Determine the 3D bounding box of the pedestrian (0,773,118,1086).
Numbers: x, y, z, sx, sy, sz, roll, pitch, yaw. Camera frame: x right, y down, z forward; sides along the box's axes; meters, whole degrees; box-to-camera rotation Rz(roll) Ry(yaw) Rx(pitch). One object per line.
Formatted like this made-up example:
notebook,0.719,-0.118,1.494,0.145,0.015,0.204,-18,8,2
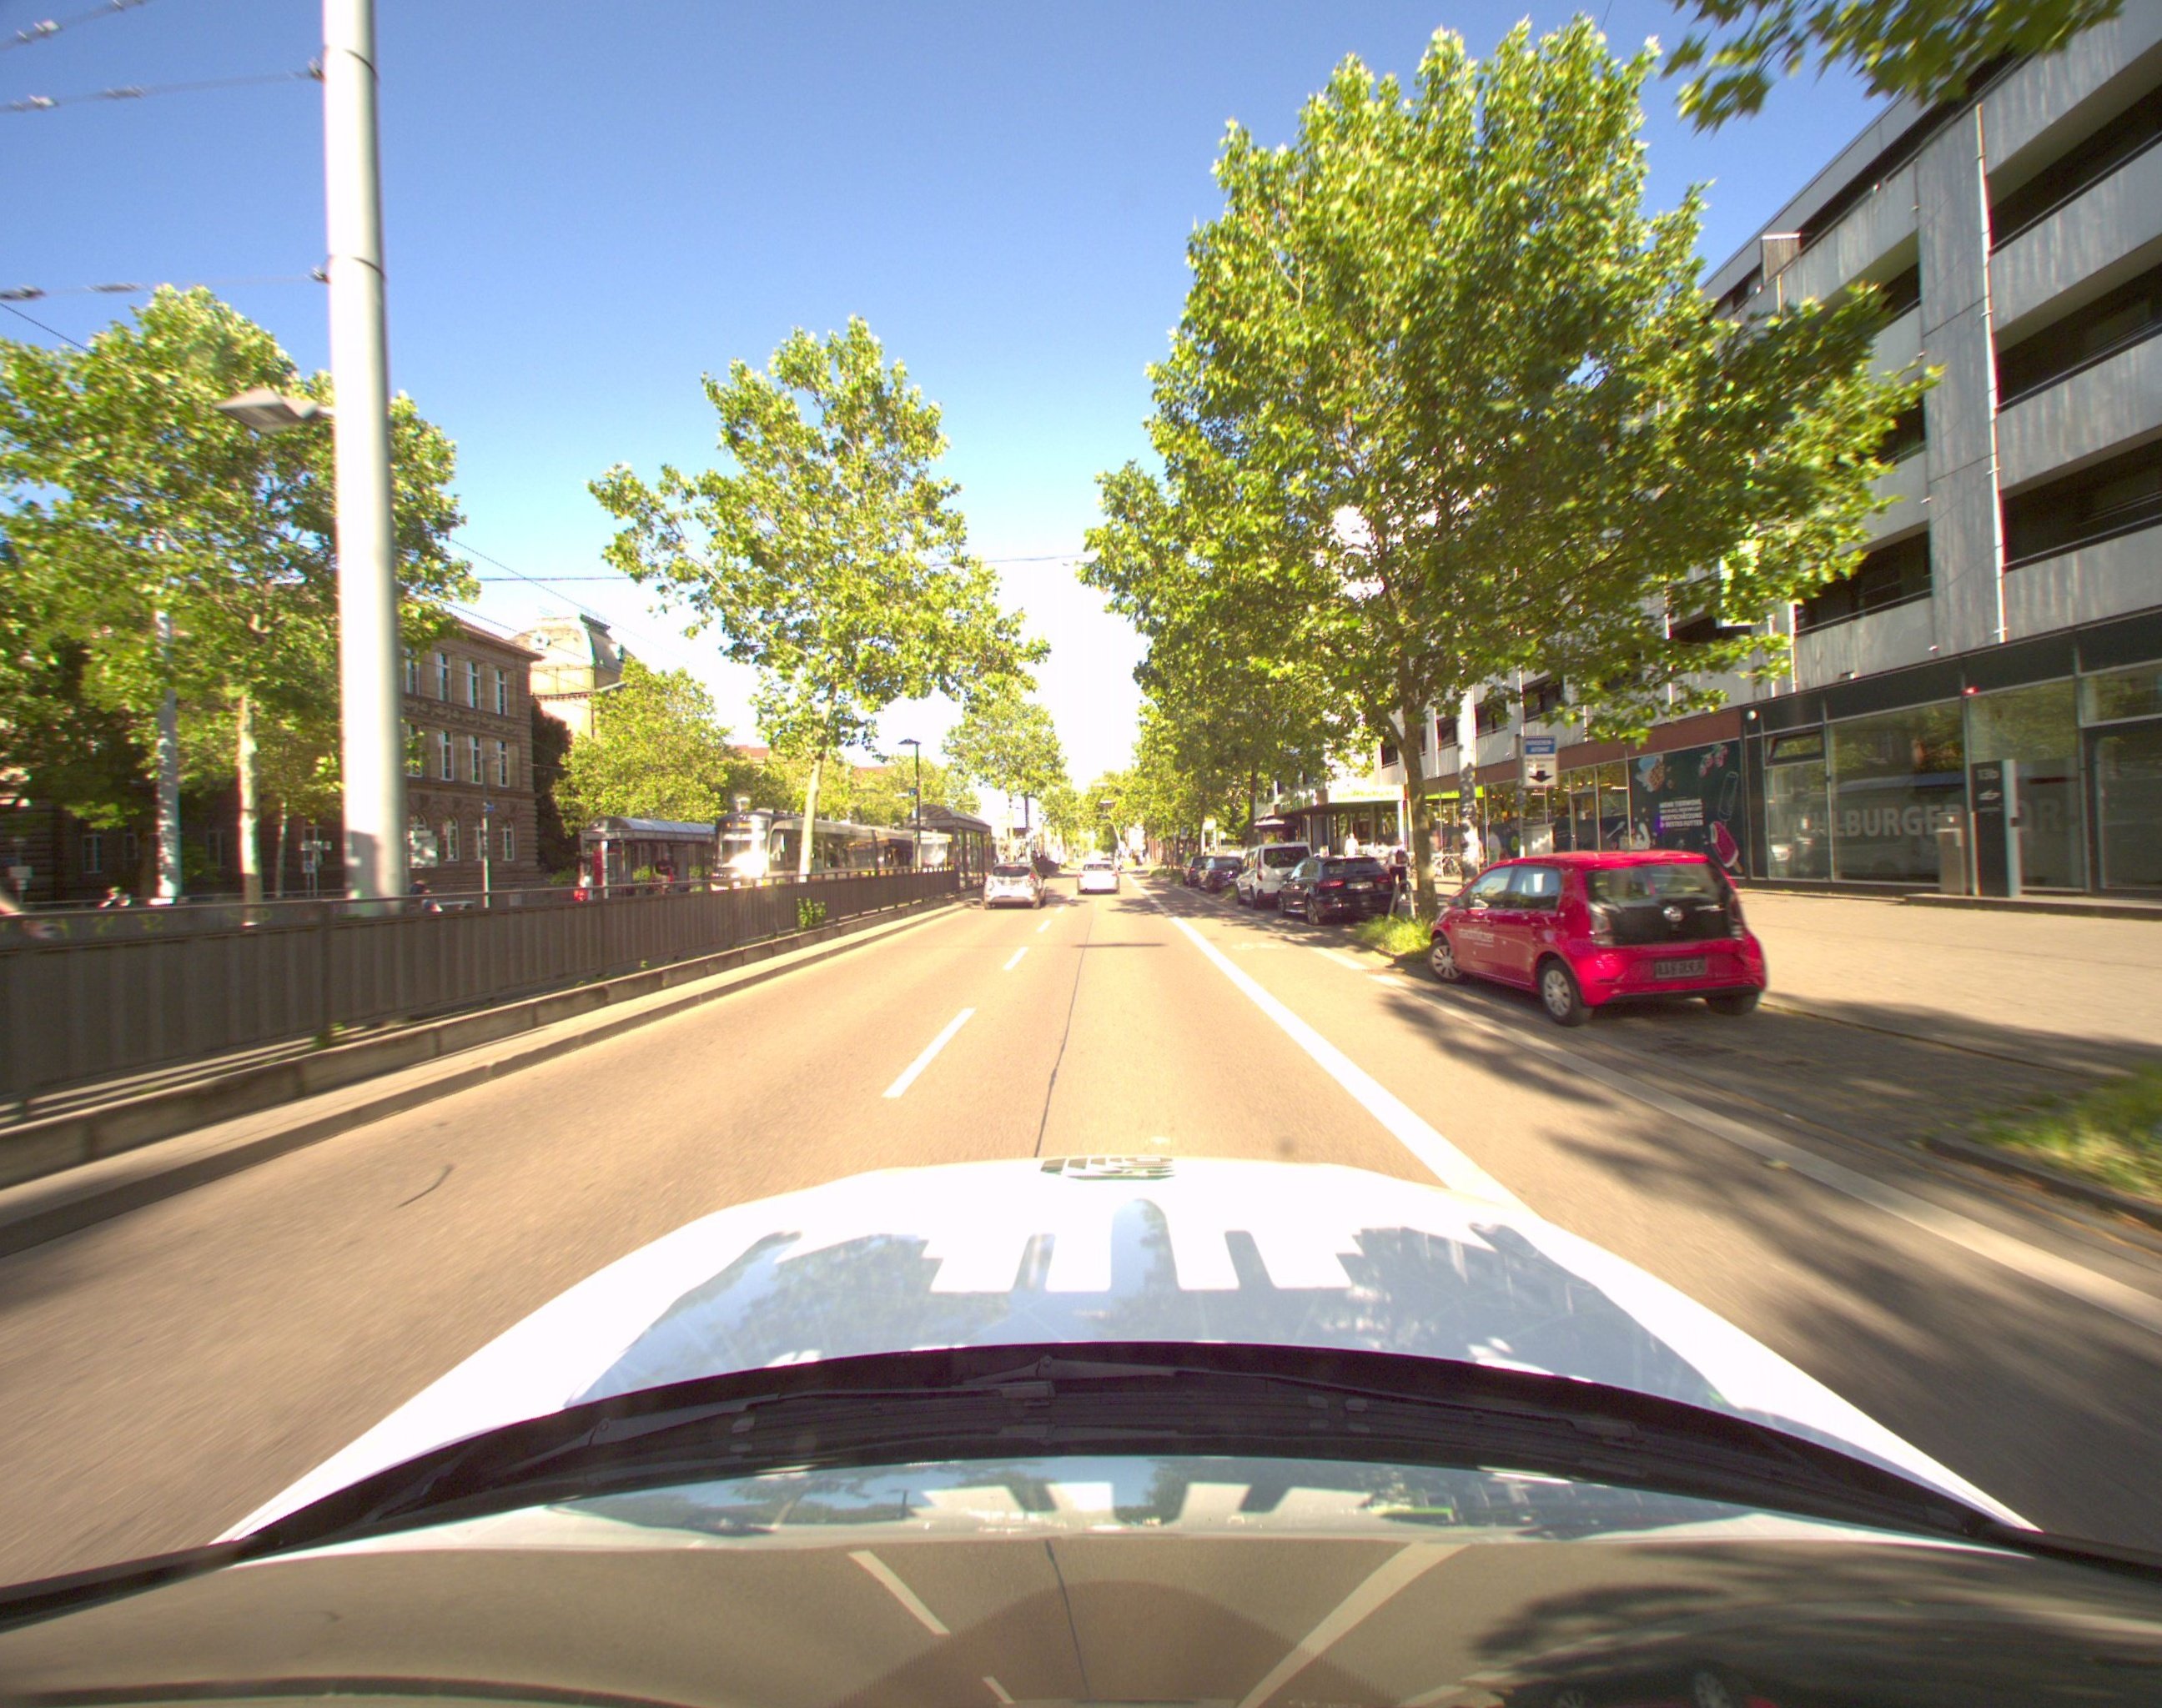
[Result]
pedestrian,-6.247,0.418,4.666,0.679,1.710,0.624,-2,0,1

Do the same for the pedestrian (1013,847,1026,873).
pedestrian,-4.205,0.430,56.113,0.773,1.752,0.723,-3,0,-2

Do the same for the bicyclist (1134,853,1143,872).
bicyclist,5.099,0.728,72.282,0.654,1.657,0.767,-3,0,10

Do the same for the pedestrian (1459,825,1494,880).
pedestrian,12.498,-0.037,25.736,0.555,1.678,0.882,-4,-1,1

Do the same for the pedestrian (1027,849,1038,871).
pedestrian,-3.653,0.442,61.197,0.658,1.634,0.571,-2,0,2

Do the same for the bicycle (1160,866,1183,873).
bicycle,6.661,1.139,59.919,1.602,0.353,1.389,-2,0,2

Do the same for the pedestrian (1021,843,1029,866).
pedestrian,-4.306,0.023,62.570,0.513,1.708,0.621,-2,0,1

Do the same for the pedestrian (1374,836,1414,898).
pedestrian,8.540,0.358,22.260,0.695,1.612,0.869,-4,0,3

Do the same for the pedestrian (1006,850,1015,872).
pedestrian,-5.457,0.550,62.827,0.607,1.702,0.545,-2,0,-3

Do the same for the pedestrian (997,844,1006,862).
pedestrian,-5.795,-0.060,59.577,0.532,1.299,0.604,-3,0,-2

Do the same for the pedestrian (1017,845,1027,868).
pedestrian,-4.549,0.197,62.710,0.631,1.702,0.746,-2,0,-2

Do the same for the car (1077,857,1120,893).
car,0.806,0.861,34.622,1.653,1.409,3.635,-1,-1,3

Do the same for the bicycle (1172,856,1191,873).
bicycle,7.296,0.750,59.050,0.788,1.133,1.839,-2,0,-11

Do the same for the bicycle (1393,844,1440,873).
bicycle,13.954,0.179,33.899,1.683,1.055,0.589,-4,2,28

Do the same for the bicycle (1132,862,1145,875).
bicycle,5.114,1.300,72.316,0.826,1.041,1.880,-3,0,11

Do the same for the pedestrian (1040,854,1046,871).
pedestrian,-3.045,0.647,64.796,0.414,1.316,0.507,-2,0,0

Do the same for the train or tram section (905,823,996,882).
train or tram section,-8.104,0.083,53.438,2.903,3.260,15.898,0,-1,2

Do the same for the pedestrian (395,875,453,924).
pedestrian,-16.584,1.135,20.576,0.723,1.167,0.887,-2,0,2

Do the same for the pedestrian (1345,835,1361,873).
pedestrian,12.931,-0.012,38.728,0.606,1.715,0.616,-5,1,18

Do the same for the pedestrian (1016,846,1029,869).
pedestrian,-3.934,0.251,54.634,0.773,1.510,0.751,-3,0,-2

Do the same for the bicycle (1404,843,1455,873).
bicycle,13.606,0.164,31.795,1.683,1.055,0.589,-4,1,28

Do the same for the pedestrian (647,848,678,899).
pedestrian,-15.744,0.740,30.638,0.707,1.855,0.648,-3,0,0

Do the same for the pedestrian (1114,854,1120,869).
pedestrian,3.861,0.787,87.862,0.636,1.619,0.642,-2,-3,2

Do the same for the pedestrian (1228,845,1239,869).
pedestrian,10.937,0.210,58.541,0.558,1.744,0.879,-3,0,1

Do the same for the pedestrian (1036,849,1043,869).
pedestrian,-3.663,0.416,72.582,0.546,1.734,0.539,-2,0,-2

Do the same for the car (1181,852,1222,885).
car,5.941,0.700,40.519,1.559,1.550,4.002,-2,0,2

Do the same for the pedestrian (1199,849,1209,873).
pedestrian,8.860,0.475,58.615,0.558,1.704,1.052,-3,0,1

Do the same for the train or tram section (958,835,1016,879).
train or tram section,-7.633,0.355,67.952,2.903,3.260,13.117,0,-1,2

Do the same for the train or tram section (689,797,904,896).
train or tram section,-11.915,-0.251,37.554,2.860,3.434,18.285,-1,0,2

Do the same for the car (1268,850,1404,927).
car,5.531,0.682,18.227,1.722,1.403,4.296,-4,0,1

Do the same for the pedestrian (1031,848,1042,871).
pedestrian,-3.361,0.397,61.729,0.658,1.696,0.571,-2,0,2

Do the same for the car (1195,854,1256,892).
car,5.840,0.743,33.468,1.755,1.418,4.701,-1,0,1

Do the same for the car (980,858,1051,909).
car,-2.000,0.881,25.847,1.723,1.390,3.843,-1,1,3

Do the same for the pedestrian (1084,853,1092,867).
pedestrian,0.776,0.679,89.301,0.824,1.575,0.741,-2,-1,9

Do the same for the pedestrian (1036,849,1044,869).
pedestrian,-3.454,0.421,69.222,0.545,1.734,0.540,-2,0,3

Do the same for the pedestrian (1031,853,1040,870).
pedestrian,-3.256,0.533,58.297,0.532,1.246,0.604,-3,0,0

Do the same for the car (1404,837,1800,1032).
car,4.914,0.668,8.386,1.667,1.438,3.690,-4,-1,1

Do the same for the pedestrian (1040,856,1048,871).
pedestrian,-2.923,0.737,63.791,0.543,1.192,0.531,-2,0,1

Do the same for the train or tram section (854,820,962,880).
train or tram section,-11.230,-0.237,55.800,2.838,3.434,18.223,-1,0,2

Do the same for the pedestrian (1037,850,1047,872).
pedestrian,-3.033,0.555,62.882,0.658,1.696,0.571,-2,0,2

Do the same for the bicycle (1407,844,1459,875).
bicycle,13.381,0.221,30.961,1.683,1.055,0.589,-5,0,28

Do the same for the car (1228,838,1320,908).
car,5.579,0.514,24.051,1.757,1.792,4.395,-3,0,2

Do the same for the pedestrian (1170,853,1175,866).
pedestrian,11.505,0.741,102.298,0.623,1.629,0.946,-1,-1,10

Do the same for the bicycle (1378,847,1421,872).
bicycle,13.781,0.237,35.239,1.631,0.916,0.589,-4,2,28
